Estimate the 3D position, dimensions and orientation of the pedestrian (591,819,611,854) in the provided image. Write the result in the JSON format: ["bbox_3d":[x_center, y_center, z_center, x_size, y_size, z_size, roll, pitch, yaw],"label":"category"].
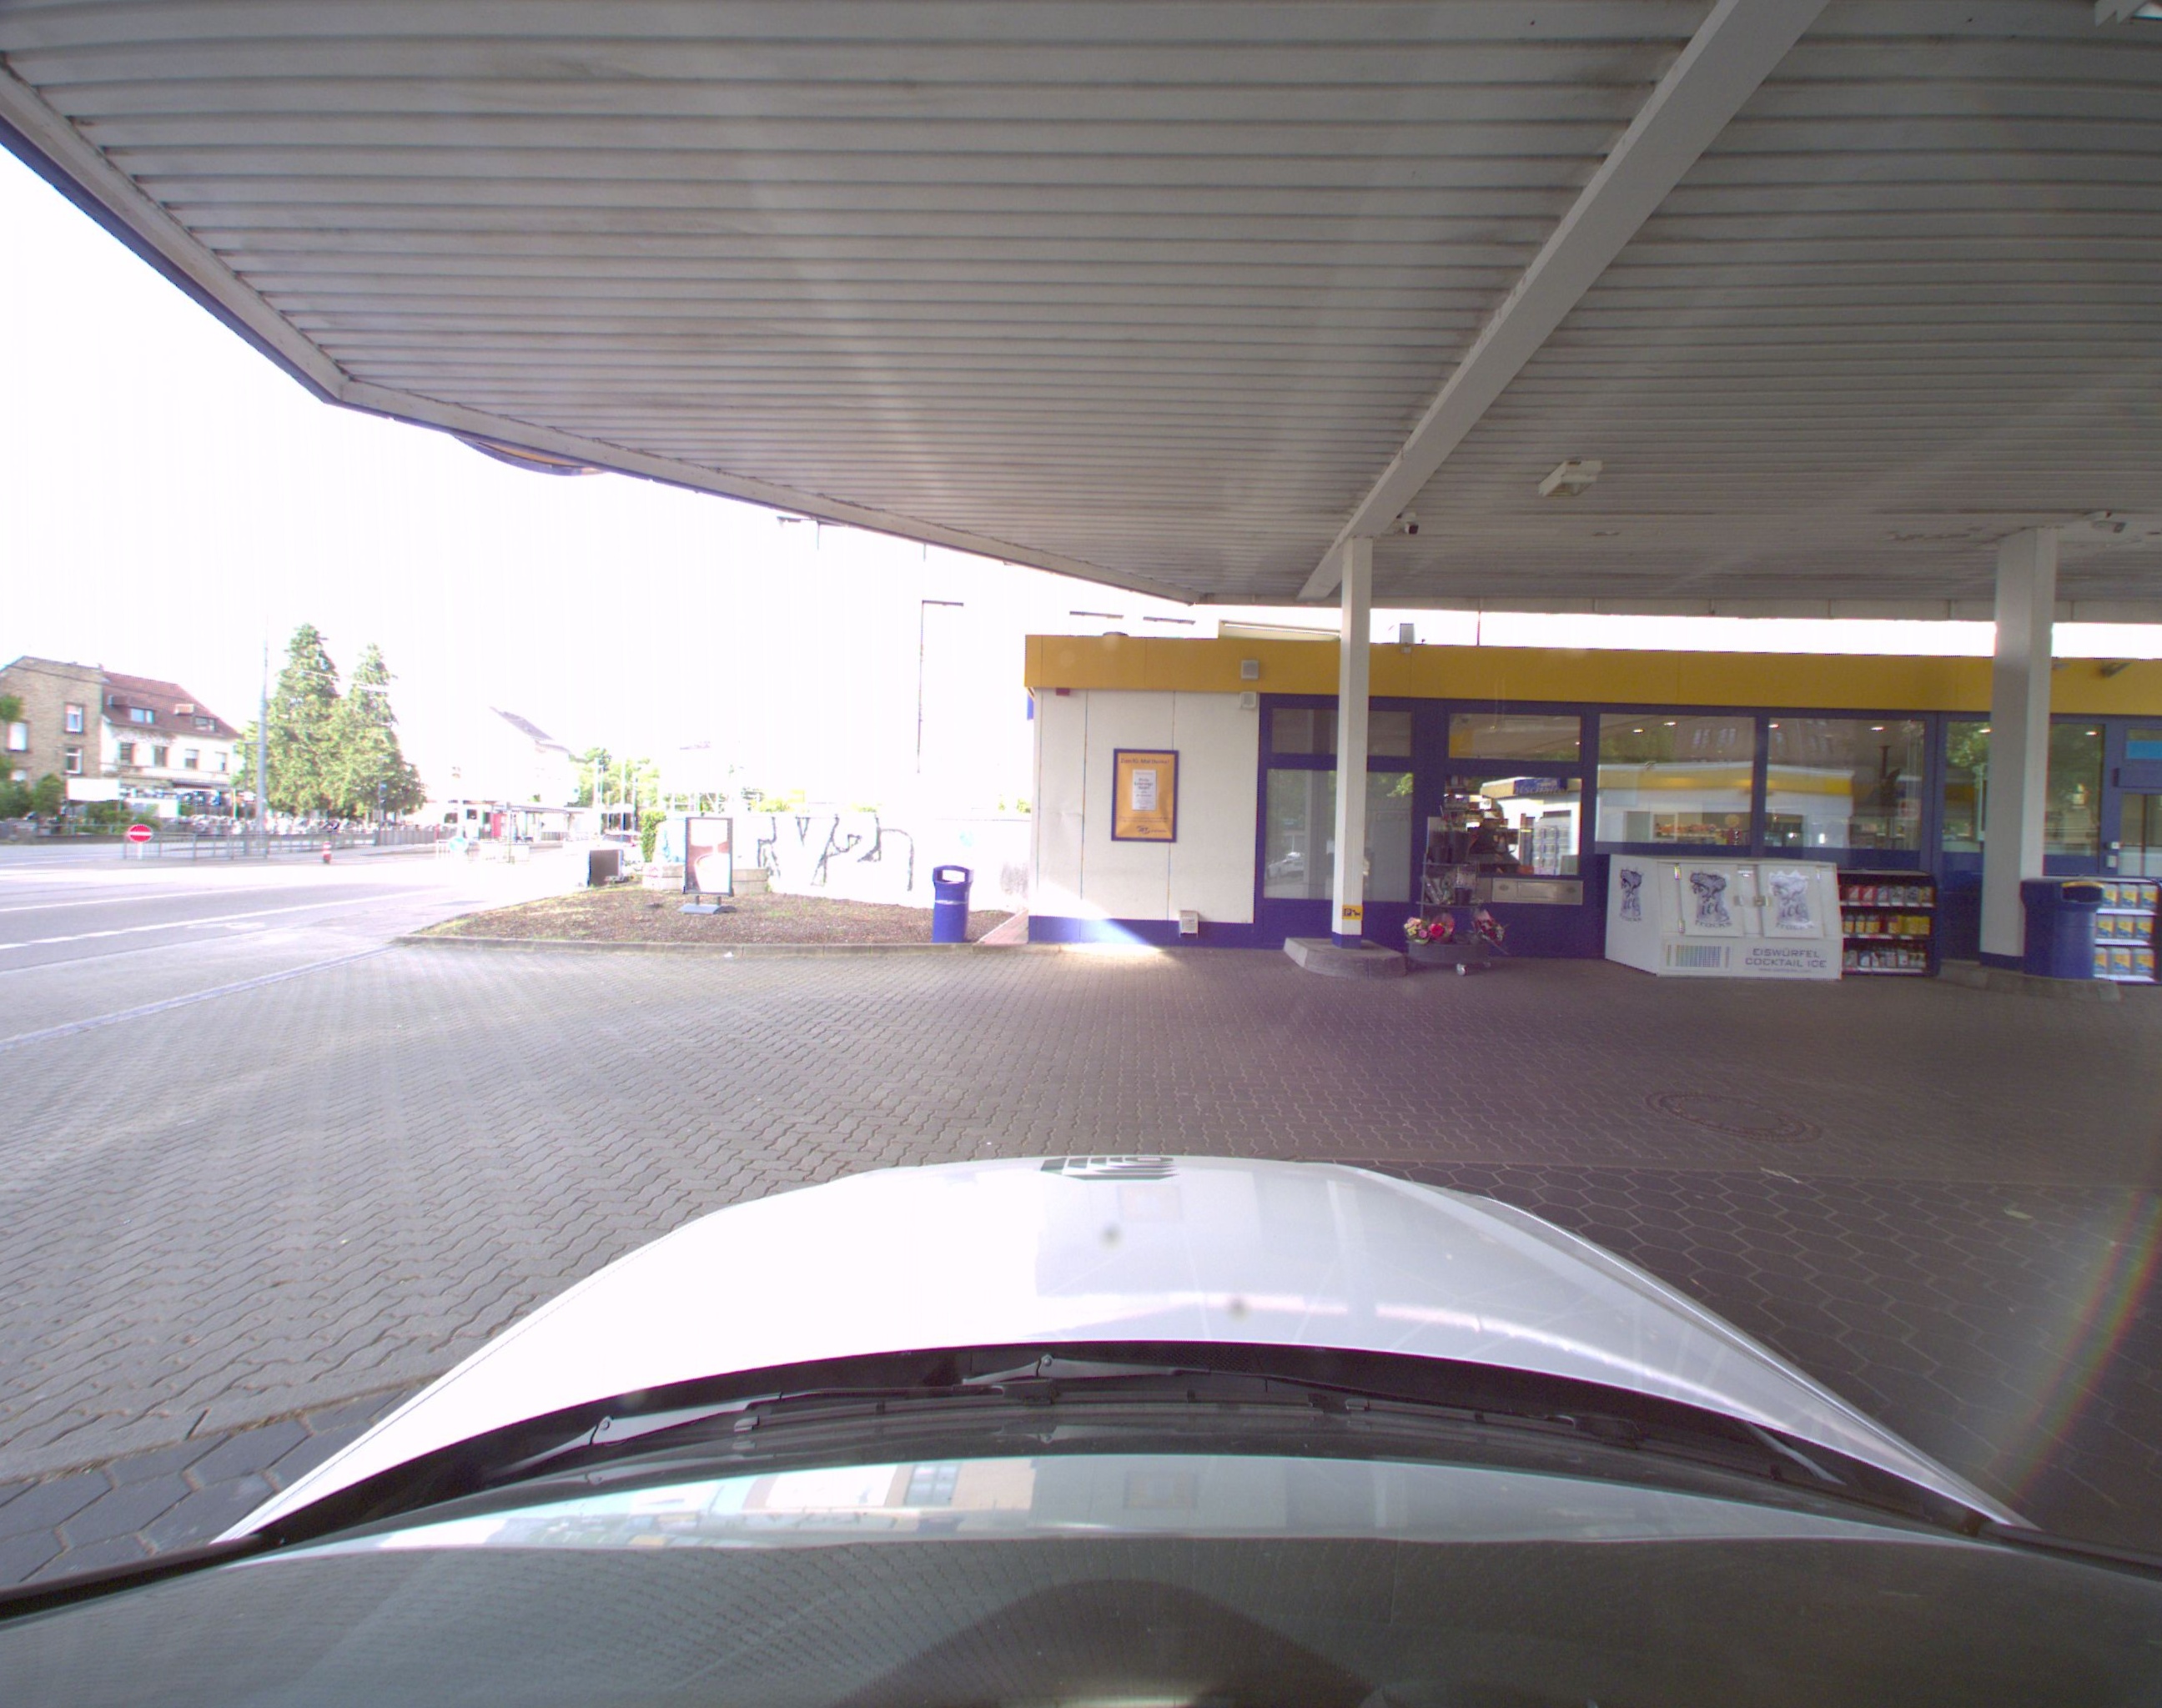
[{"bbox_3d":[-28.327,-1.033,48.049,0.808,2.014,0.846,0,-1,-17],"label":"pedestrian"}]

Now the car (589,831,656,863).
[{"bbox_3d":[-22.840,-0.393,40.734,1.751,1.468,4.548,2,1,-15],"label":"car"}]

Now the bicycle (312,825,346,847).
[{"bbox_3d":[-43.369,-1.032,46.978,0.680,1.222,1.908,0,1,-17],"label":"bicycle"}]

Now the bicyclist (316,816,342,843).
[{"bbox_3d":[-43.362,-1.396,46.977,0.680,1.534,1.079,0,1,-17],"label":"bicyclist"}]
